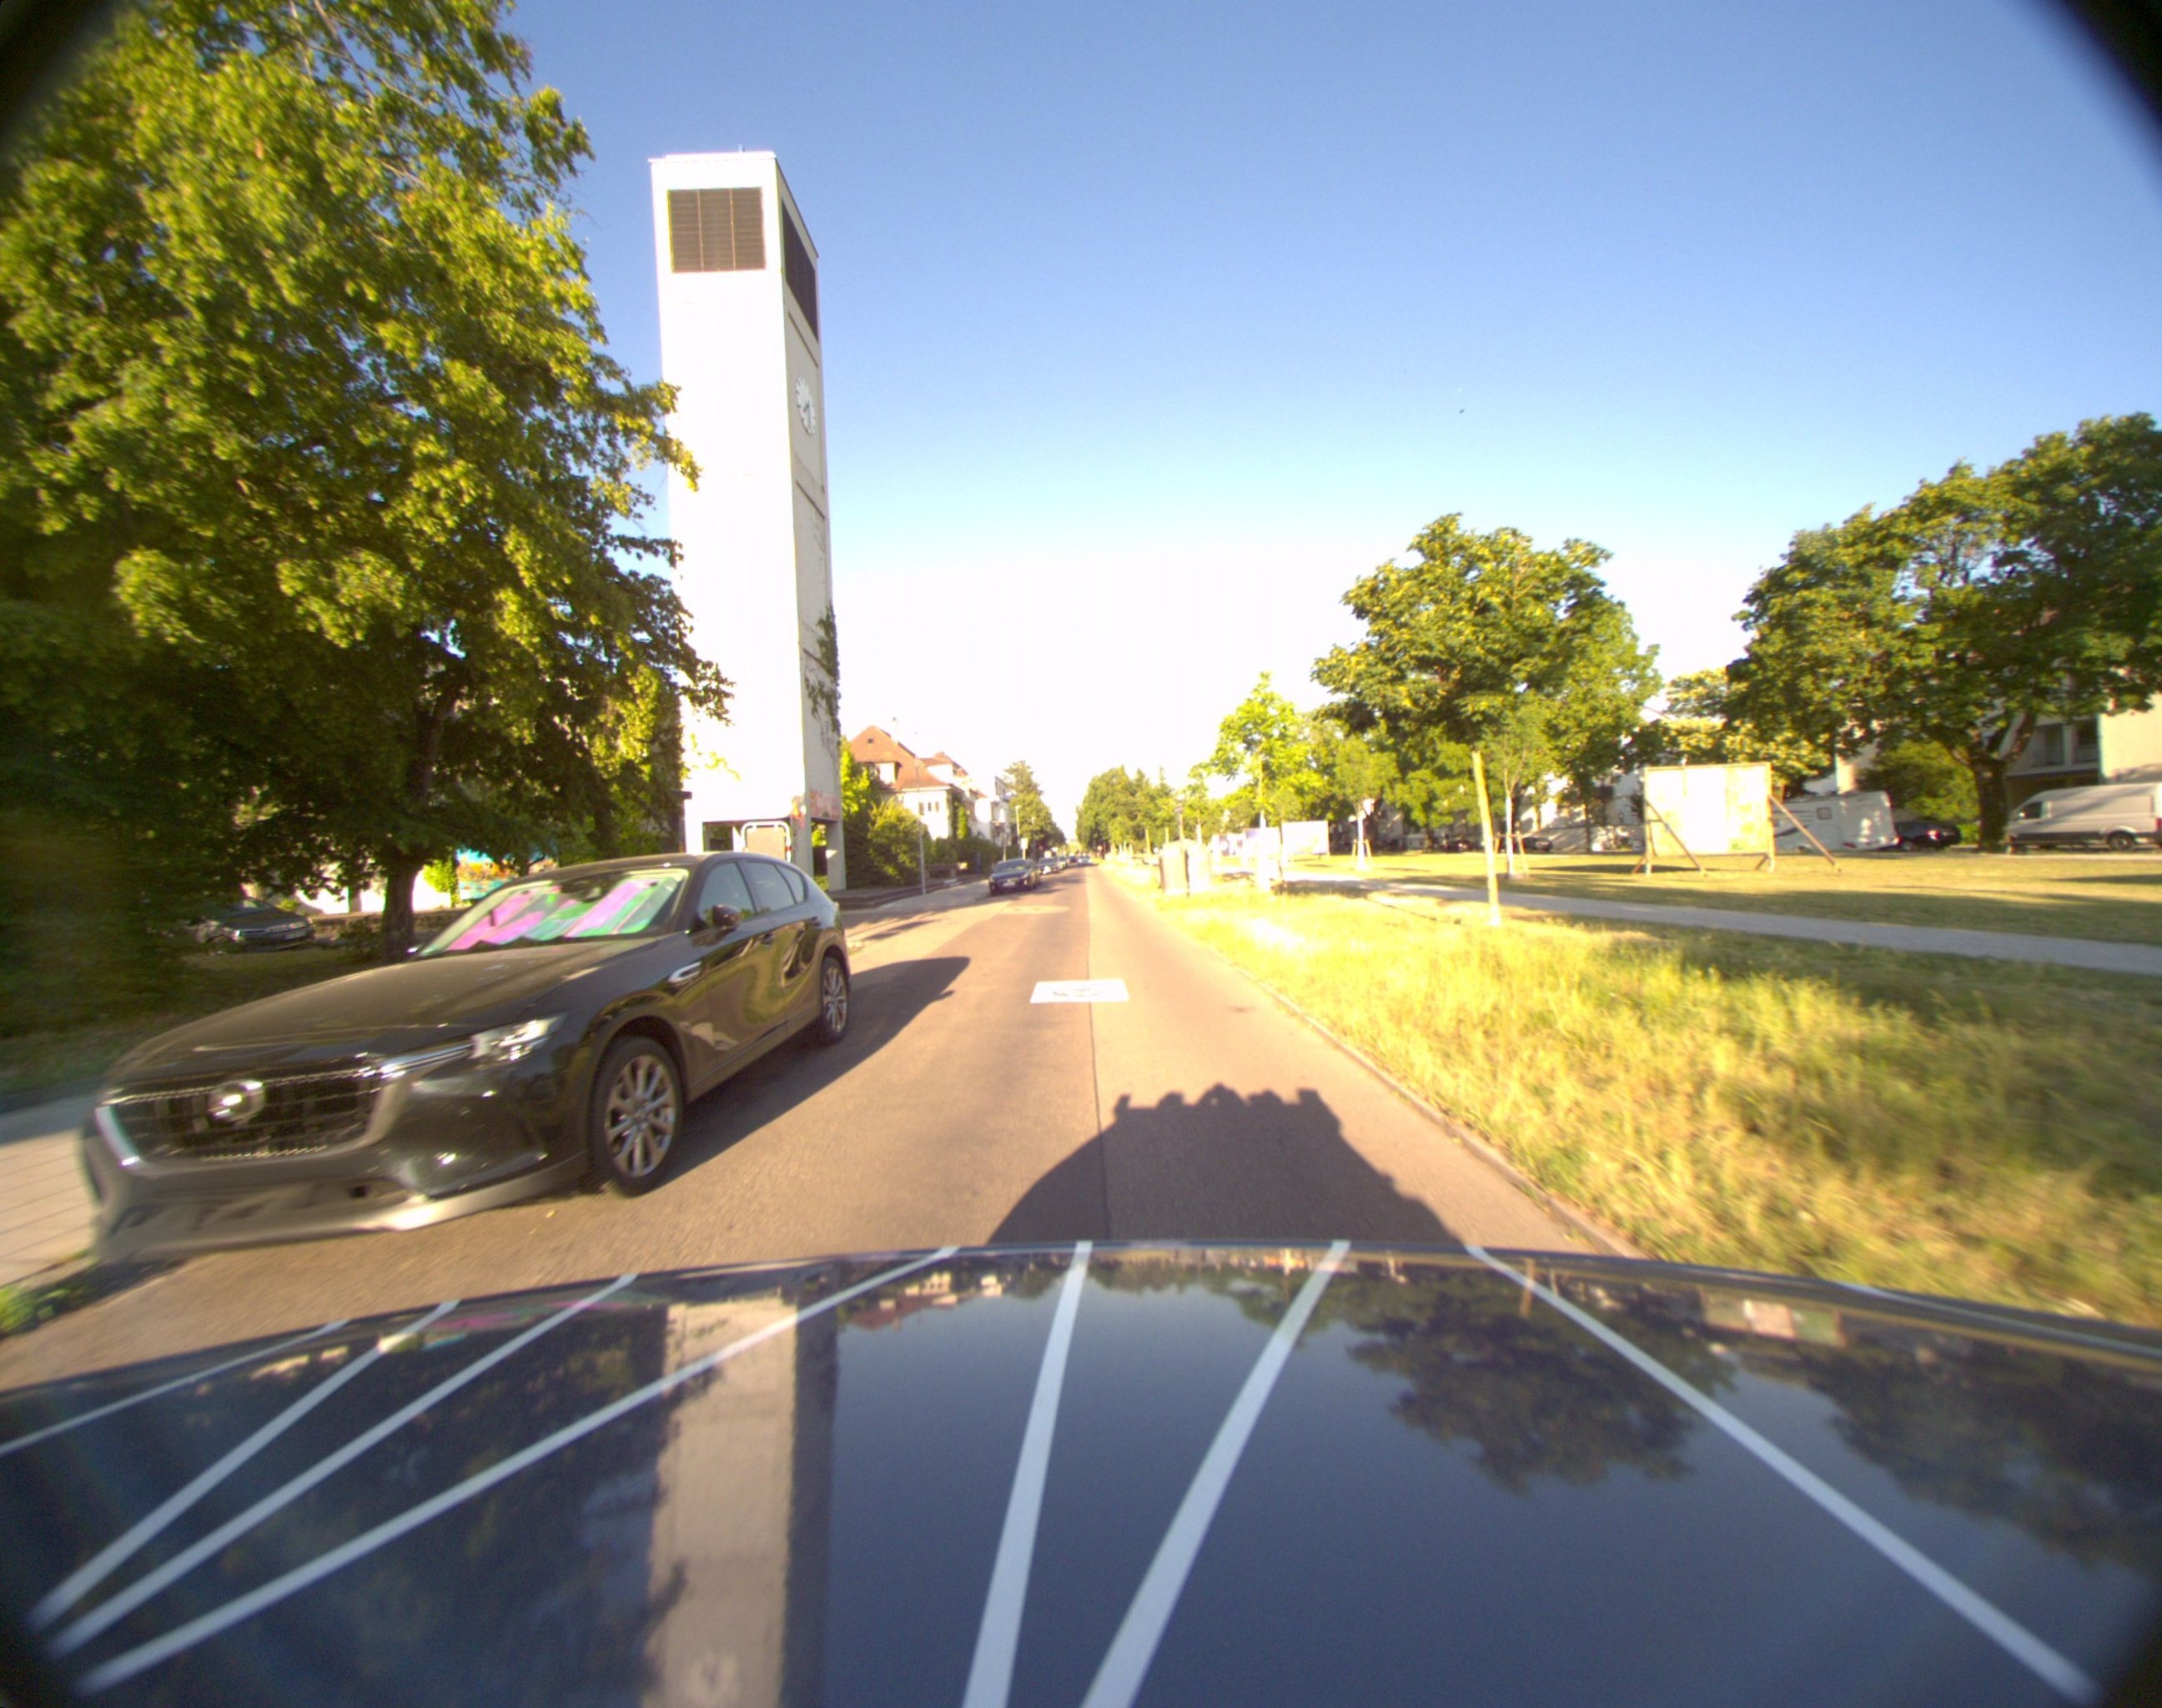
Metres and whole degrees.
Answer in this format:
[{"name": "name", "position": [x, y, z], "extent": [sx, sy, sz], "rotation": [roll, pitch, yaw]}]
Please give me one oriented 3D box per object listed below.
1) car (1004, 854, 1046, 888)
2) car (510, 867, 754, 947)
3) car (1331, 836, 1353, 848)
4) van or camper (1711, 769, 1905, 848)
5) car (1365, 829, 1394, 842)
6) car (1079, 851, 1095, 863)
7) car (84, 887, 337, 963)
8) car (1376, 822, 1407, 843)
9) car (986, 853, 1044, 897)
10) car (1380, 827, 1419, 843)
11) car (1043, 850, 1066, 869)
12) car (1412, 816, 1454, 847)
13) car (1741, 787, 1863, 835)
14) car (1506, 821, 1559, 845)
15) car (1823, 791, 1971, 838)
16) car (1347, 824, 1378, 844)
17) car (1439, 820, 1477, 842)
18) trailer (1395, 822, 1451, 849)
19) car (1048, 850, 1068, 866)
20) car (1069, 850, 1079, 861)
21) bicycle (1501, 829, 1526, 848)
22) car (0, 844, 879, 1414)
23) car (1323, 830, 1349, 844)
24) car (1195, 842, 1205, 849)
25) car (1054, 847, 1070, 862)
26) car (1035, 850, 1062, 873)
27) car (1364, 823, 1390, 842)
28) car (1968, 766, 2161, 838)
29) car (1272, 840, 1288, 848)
[{"name": "car", "position": [-2.893, 0.879, 40.242], "extent": [1.692, 1.519, 4.175], "rotation": [-6, 0, 1]}, {"name": "car", "position": [-11.176, 1.290, 19.210], "extent": [4.859, 1.478, 2.001], "rotation": [-3, 4, 0]}, {"name": "car", "position": [40.483, -1.826, 117.775], "extent": [1.624, 1.814, 4.287], "rotation": [-2, 0, -4]}, {"name": "van or camper", "position": [34.075, -1.966, 36.079], "extent": [2.648, 3.243, 6.904], "rotation": [-3, 0, 1]}, {"name": "car", "position": [34.409, -2.122, 87.645], "extent": [1.857, 1.308, 4.042], "rotation": [-3, 1, 3]}, {"name": "car", "position": [0.820, 0.417, 103.981], "extent": [1.998, 1.483, 3.999], "rotation": [-3, 1, 0]}, {"name": "car", "position": [-21.792, 1.743, 19.155], "extent": [4.125, 1.501, 2.000], "rotation": [-3, 1, 3]}, {"name": "car", "position": [40.478, -2.820, 99.038], "extent": [1.950, 2.625, 5.043], "rotation": [1, 2, 1]}, {"name": "car", "position": [-2.820, 0.876, 33.532], "extent": [1.827, 1.552, 4.621], "rotation": [-8, 0, 1]}, {"name": "car", "position": [34.484, -2.038, 82.389], "extent": [1.999, 1.632, 4.950], "rotation": [-4, 1, -1]}, {"name": "car", "position": [-2.621, 0.534, 76.828], "extent": [1.888, 1.528, 4.461], "rotation": [-6, 1, 2]}, {"name": "car", "position": [40.251, -2.495, 87.098], "extent": [1.998, 3.230, 6.075], "rotation": [-2, 0, 0]}, {"name": "car", "position": [34.075, -1.966, 36.079], "extent": [1.998, 2.002, 4.000], "rotation": [-3, 0, 1]}, {"name": "car", "position": [40.346, -1.832, 68.025], "extent": [1.894, 1.901, 4.714], "rotation": [-3, 0, 1]}, {"name": "car", "position": [40.275, -1.884, 37.742], "extent": [1.974, 1.993, 5.049], "rotation": [-3, 1, 1]}, {"name": "car", "position": [34.491, -2.448, 93.243], "extent": [1.999, 2.161, 4.570], "rotation": [-2, 0, -2]}, {"name": "car", "position": [39.849, -2.448, 80.466], "extent": [1.998, 2.142, 4.000], "rotation": [-3, 0, 1]}, {"name": "trailer", "position": [34.335, -1.864, 76.551], "extent": [2.479, 2.644, 6.634], "rotation": [1, 2, 0]}, {"name": "car", "position": [-2.565, 0.457, 87.183], "extent": [1.916, 1.550, 4.567], "rotation": [-7, -1, 1]}, {"name": "car", "position": [-1.598, 0.319, 166.909], "extent": [1.998, 2.179, 4.000], "rotation": [-2, 0, 1]}, {"name": "bicycle", "position": [31.254, -1.110, 54.938], "extent": [0.512, 1.334, 2.331], "rotation": [-2, 0, 4]}, {"name": "car", "position": [-2.985, 0.879, 4.982], "extent": [1.837, 1.722, 5.030], "rotation": [-5, 1, 0]}, {"name": "car", "position": [34.657, -2.265, 103.293], "extent": [1.999, 1.718, 4.344], "rotation": [-2, 0, -1]}, {"name": "car", "position": [35.519, -2.664, 226.613], "extent": [2.125, 2.002, 3.998], "rotation": [1, 2, -1]}, {"name": "car", "position": [-2.511, 0.081, 101.345], "extent": [1.806, 1.639, 4.582], "rotation": [-7, 2, -1]}, {"name": "car", "position": [-2.742, 0.637, 65.654], "extent": [1.999, 1.588, 4.885], "rotation": [-7, 1, 0]}, {"name": "car", "position": [40.407, -2.916, 103.887], "extent": [1.998, 2.527, 3.998], "rotation": [-2, 2, 1]}, {"name": "car", "position": [40.533, -1.973, 30.775], "extent": [1.998, 2.583, 6.088], "rotation": [1, 2, 0]}, {"name": "car", "position": [34.581, -1.742, 132.149], "extent": [1.692, 1.399, 3.642], "rotation": [-2, 0, -4]}]
